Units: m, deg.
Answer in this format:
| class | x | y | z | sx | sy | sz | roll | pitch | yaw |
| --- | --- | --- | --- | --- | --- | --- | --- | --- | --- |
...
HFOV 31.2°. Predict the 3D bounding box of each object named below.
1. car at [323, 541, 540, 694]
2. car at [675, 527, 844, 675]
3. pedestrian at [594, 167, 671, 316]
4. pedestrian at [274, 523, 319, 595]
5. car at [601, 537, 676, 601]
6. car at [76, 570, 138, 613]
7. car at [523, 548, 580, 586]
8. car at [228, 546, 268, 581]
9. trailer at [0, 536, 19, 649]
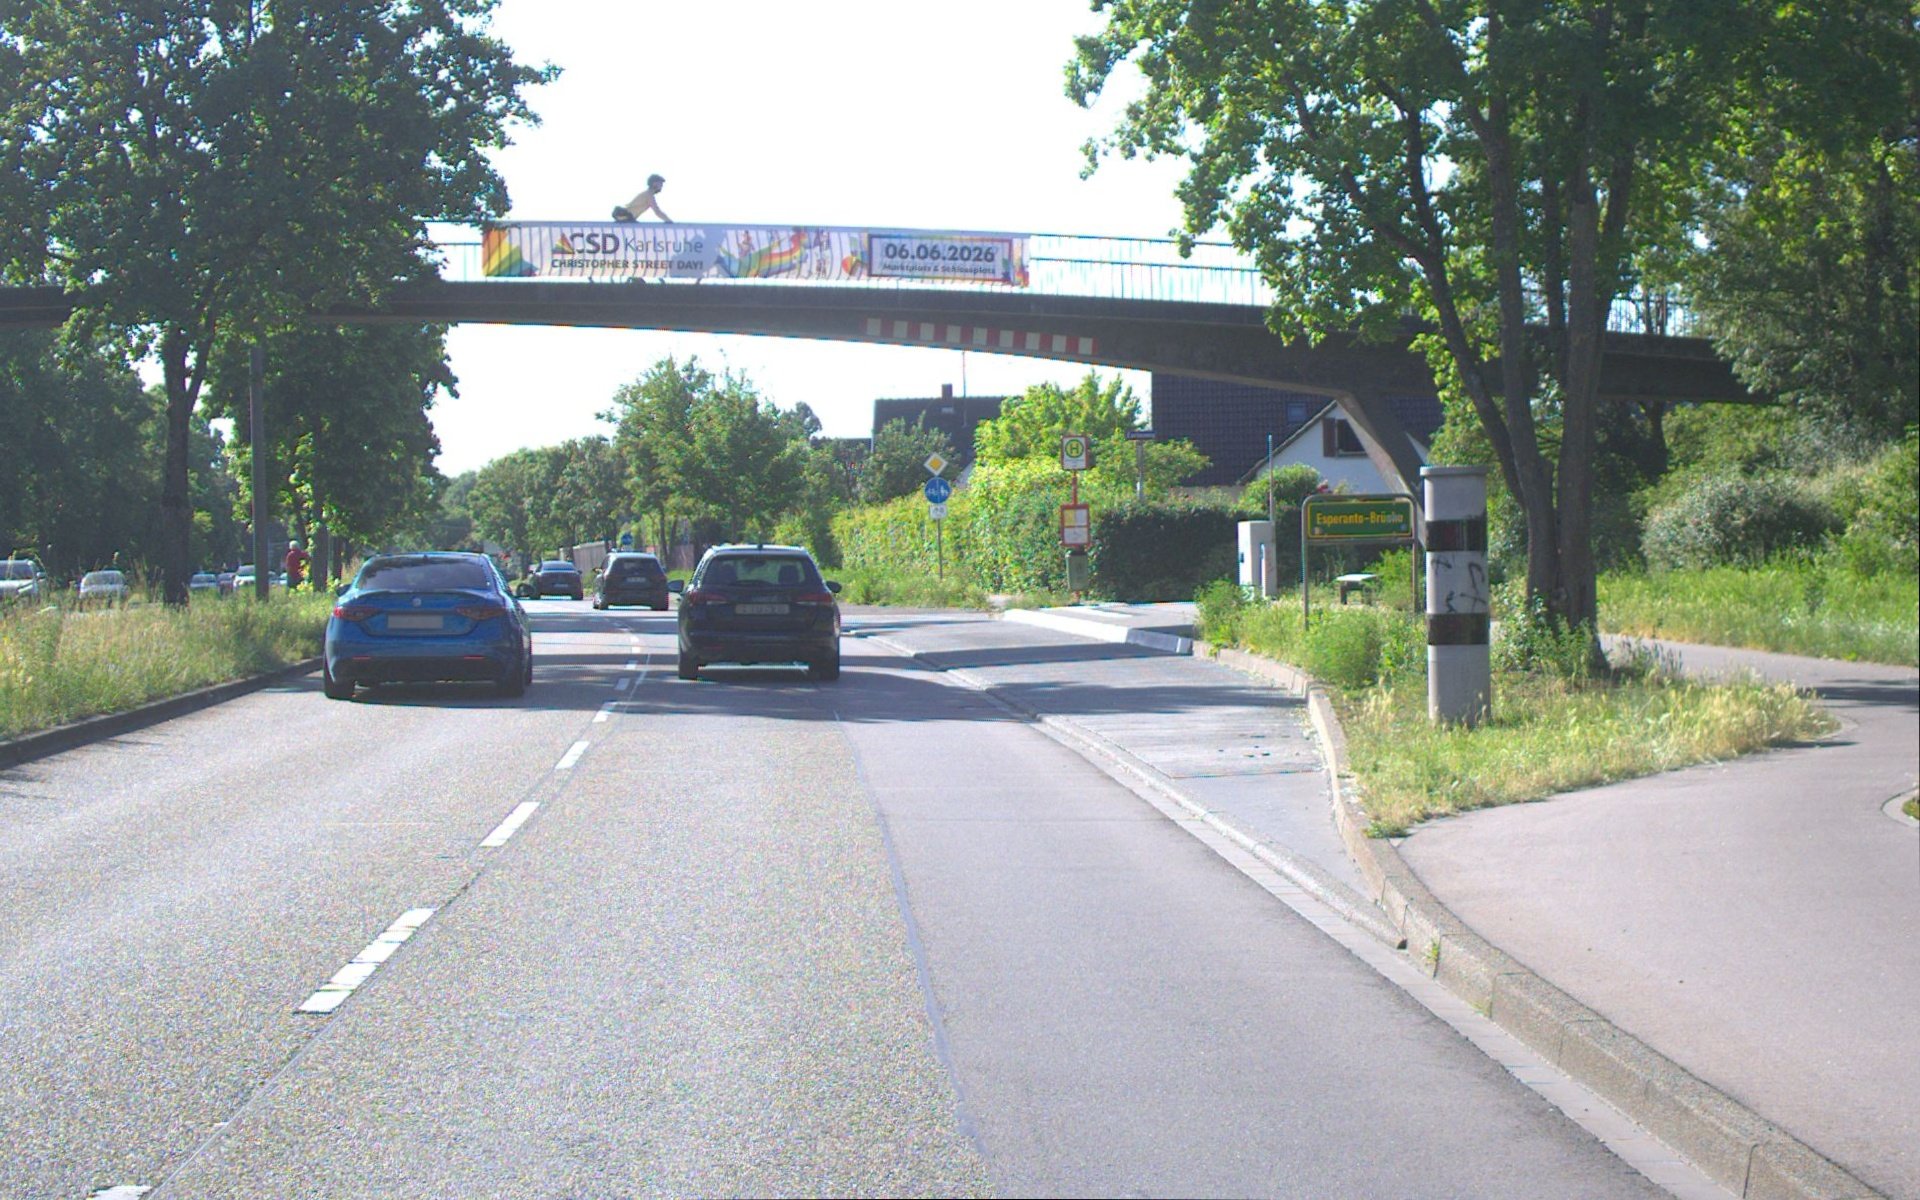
| class | x | y | z | sx | sy | sz | roll | pitch | yaw |
| --- | --- | --- | --- | --- | --- | --- | --- | --- | --- |
| car | -5.231 | 0.130 | 34.285 | 1.994 | 1.400 | 4.001 | -1 | 1 | -8 |
| car | -2.287 | 0.006 | 38.504 | 1.760 | 1.554 | 4.001 | 1 | 0 | -5 |
| pedestrian | -4.847 | -5.285 | 50.817 | 1.065 | 2.116 | 0.997 | -1 | 1 | -7 |
| pedestrian | -15.684 | -0.964 | 81.317 | 0.631 | 1.691 | 0.942 | 0 | 1 | 21 |
| car | -8.515 | -0.839 | 90.808 | 1.743 | 1.592 | 4.176 | -1 | 1 | -8 |
| car | -30.330 | -0.313 | 122.324 | 1.539 | 1.426 | 4.257 | -2 | 1 | -7 |
| car | -15.427 | -1.248 | 129.693 | 1.898 | 1.351 | 4.001 | -1 | 1 | -10 |
| car | -34.097 | -1.748 | 164.710 | 1.730 | 1.626 | 4.199 | -2 | 1 | -10 |
| trailer | -16.965 | -0.098 | 57.532 | 1.562 | 1.903 | 4.283 | -1 | 1 | -5 |
